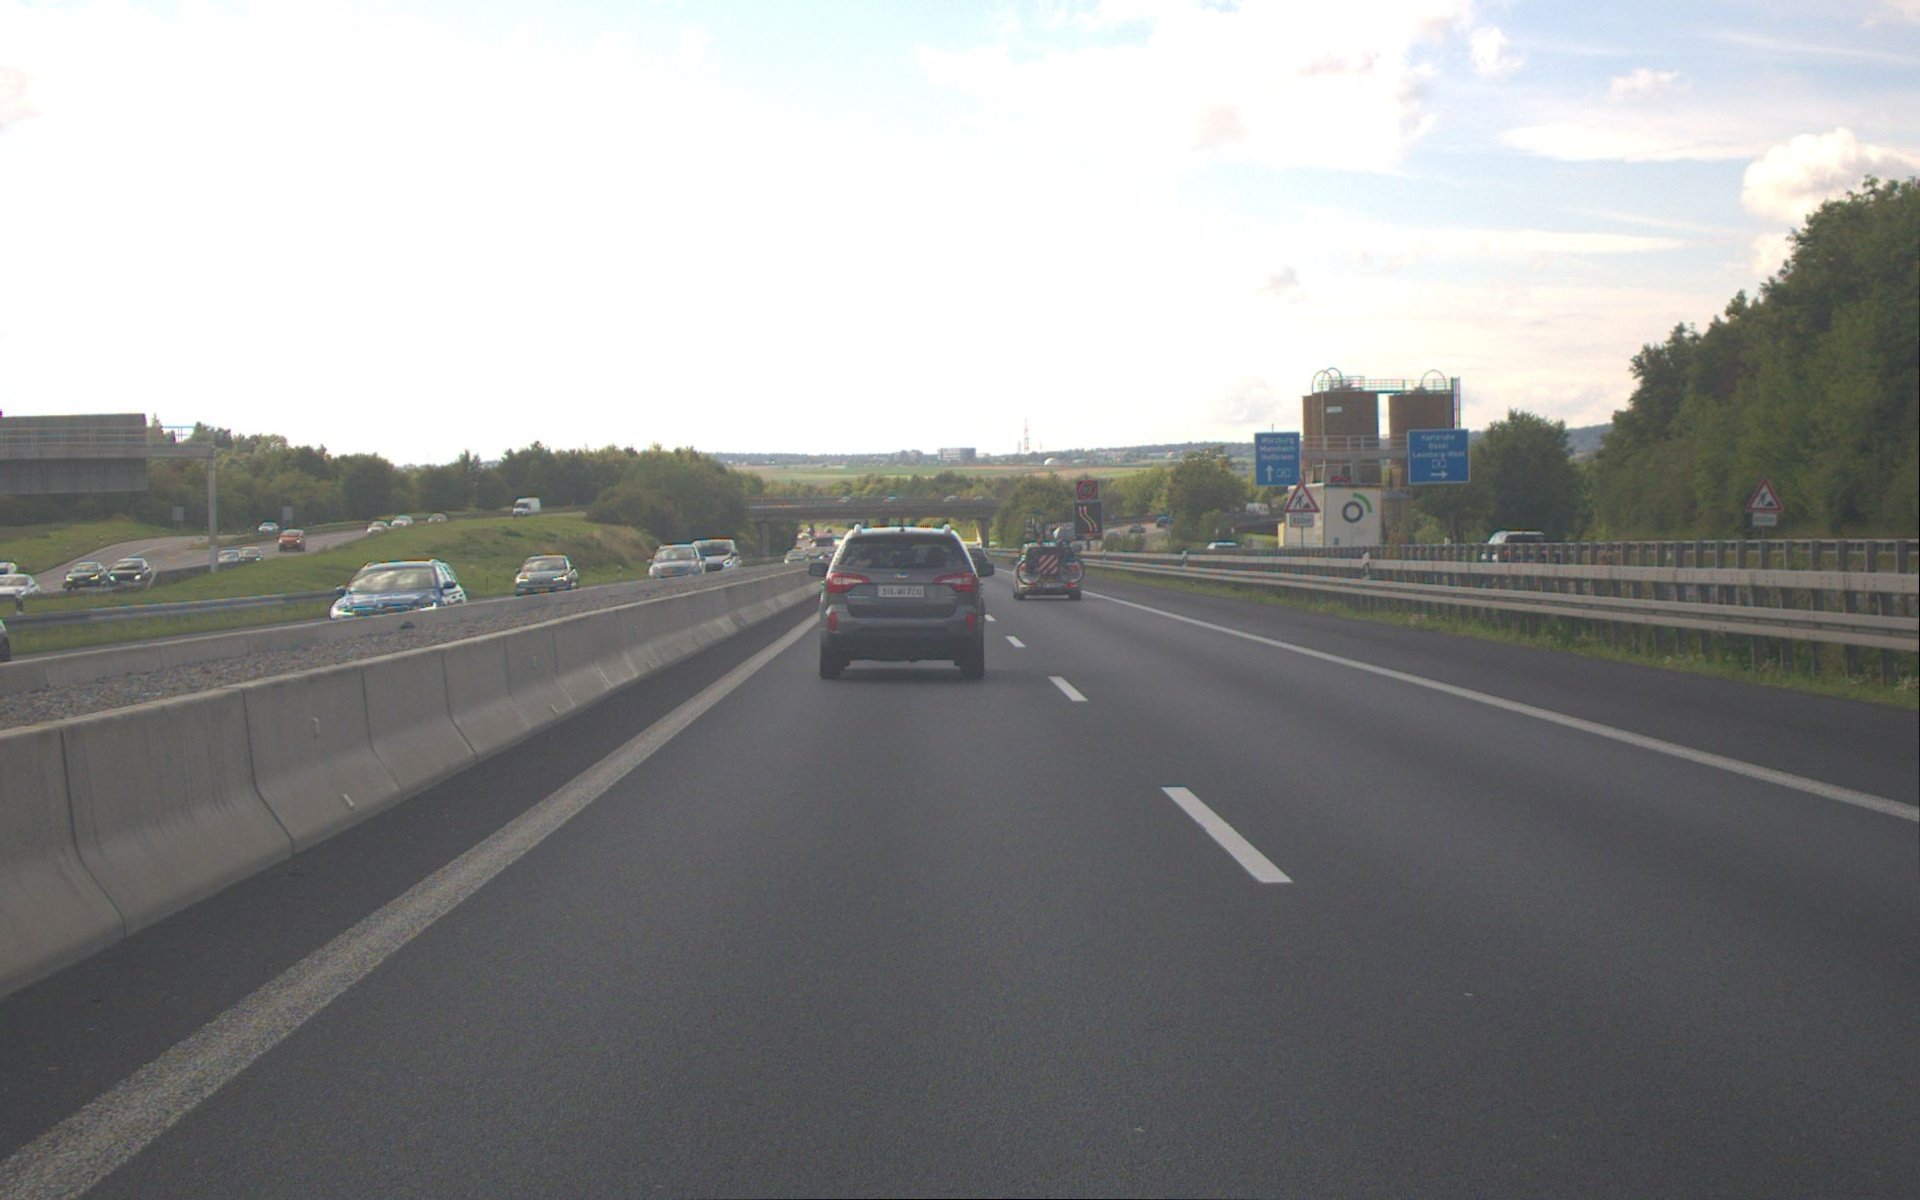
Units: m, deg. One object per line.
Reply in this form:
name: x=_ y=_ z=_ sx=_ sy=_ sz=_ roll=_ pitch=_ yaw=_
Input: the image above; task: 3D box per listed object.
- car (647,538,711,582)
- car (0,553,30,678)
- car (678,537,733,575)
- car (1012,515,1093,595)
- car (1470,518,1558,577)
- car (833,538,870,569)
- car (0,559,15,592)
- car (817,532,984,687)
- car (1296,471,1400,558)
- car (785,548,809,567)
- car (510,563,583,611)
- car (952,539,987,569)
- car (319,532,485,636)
car: x=-10.448 y=-1.504 z=128.167 sx=1.993 sy=1.527 sz=5.022 roll=-2 pitch=1 yaw=-1
car: x=-13.322 y=0.242 z=43.740 sx=1.801 sy=1.612 sz=4.302 roll=-2 pitch=1 yaw=-1
car: x=-11.095 y=-1.923 z=150.144 sx=1.993 sy=1.527 sz=5.748 roll=-2 pitch=1 yaw=-1
car: x=2.537 y=-1.247 z=95.071 sx=1.993 sy=2.073 sz=4.000 roll=-2 pitch=1 yaw=-1
car: x=17.153 y=-1.628 z=106.594 sx=1.993 sy=1.711 sz=4.000 roll=-2 pitch=1 yaw=-1
car: x=-6.948 y=-2.979 z=220.194 sx=2.169 sy=1.837 sz=4.000 roll=-2 pitch=1 yaw=1
car: x=-44.939 y=-1.098 z=158.549 sx=1.772 sy=1.542 sz=4.891 roll=-2 pitch=1 yaw=-6
car: x=-0.638 y=0.075 z=39.368 sx=1.750 sy=1.624 sz=3.609 roll=-2 pitch=1 yaw=1
car: x=17.256 y=-3.758 z=153.407 sx=3.576 sy=3.664 sz=7.549 roll=-2 pitch=1 yaw=-1
car: x=-12.200 y=-3.206 z=257.895 sx=1.641 sy=1.393 sz=3.742 roll=-2 pitch=1 yaw=-1
car: x=-14.106 y=-0.453 z=117.456 sx=1.993 sy=1.527 sz=4.507 roll=-2 pitch=1 yaw=-1
car: x=0.585 y=-2.815 z=211.980 sx=1.975 sy=1.773 sz=4.120 roll=-2 pitch=1 yaw=-1
car: x=-9.393 y=-0.290 z=58.318 sx=1.927 sy=1.612 sz=5.419 roll=-2 pitch=1 yaw=-1
